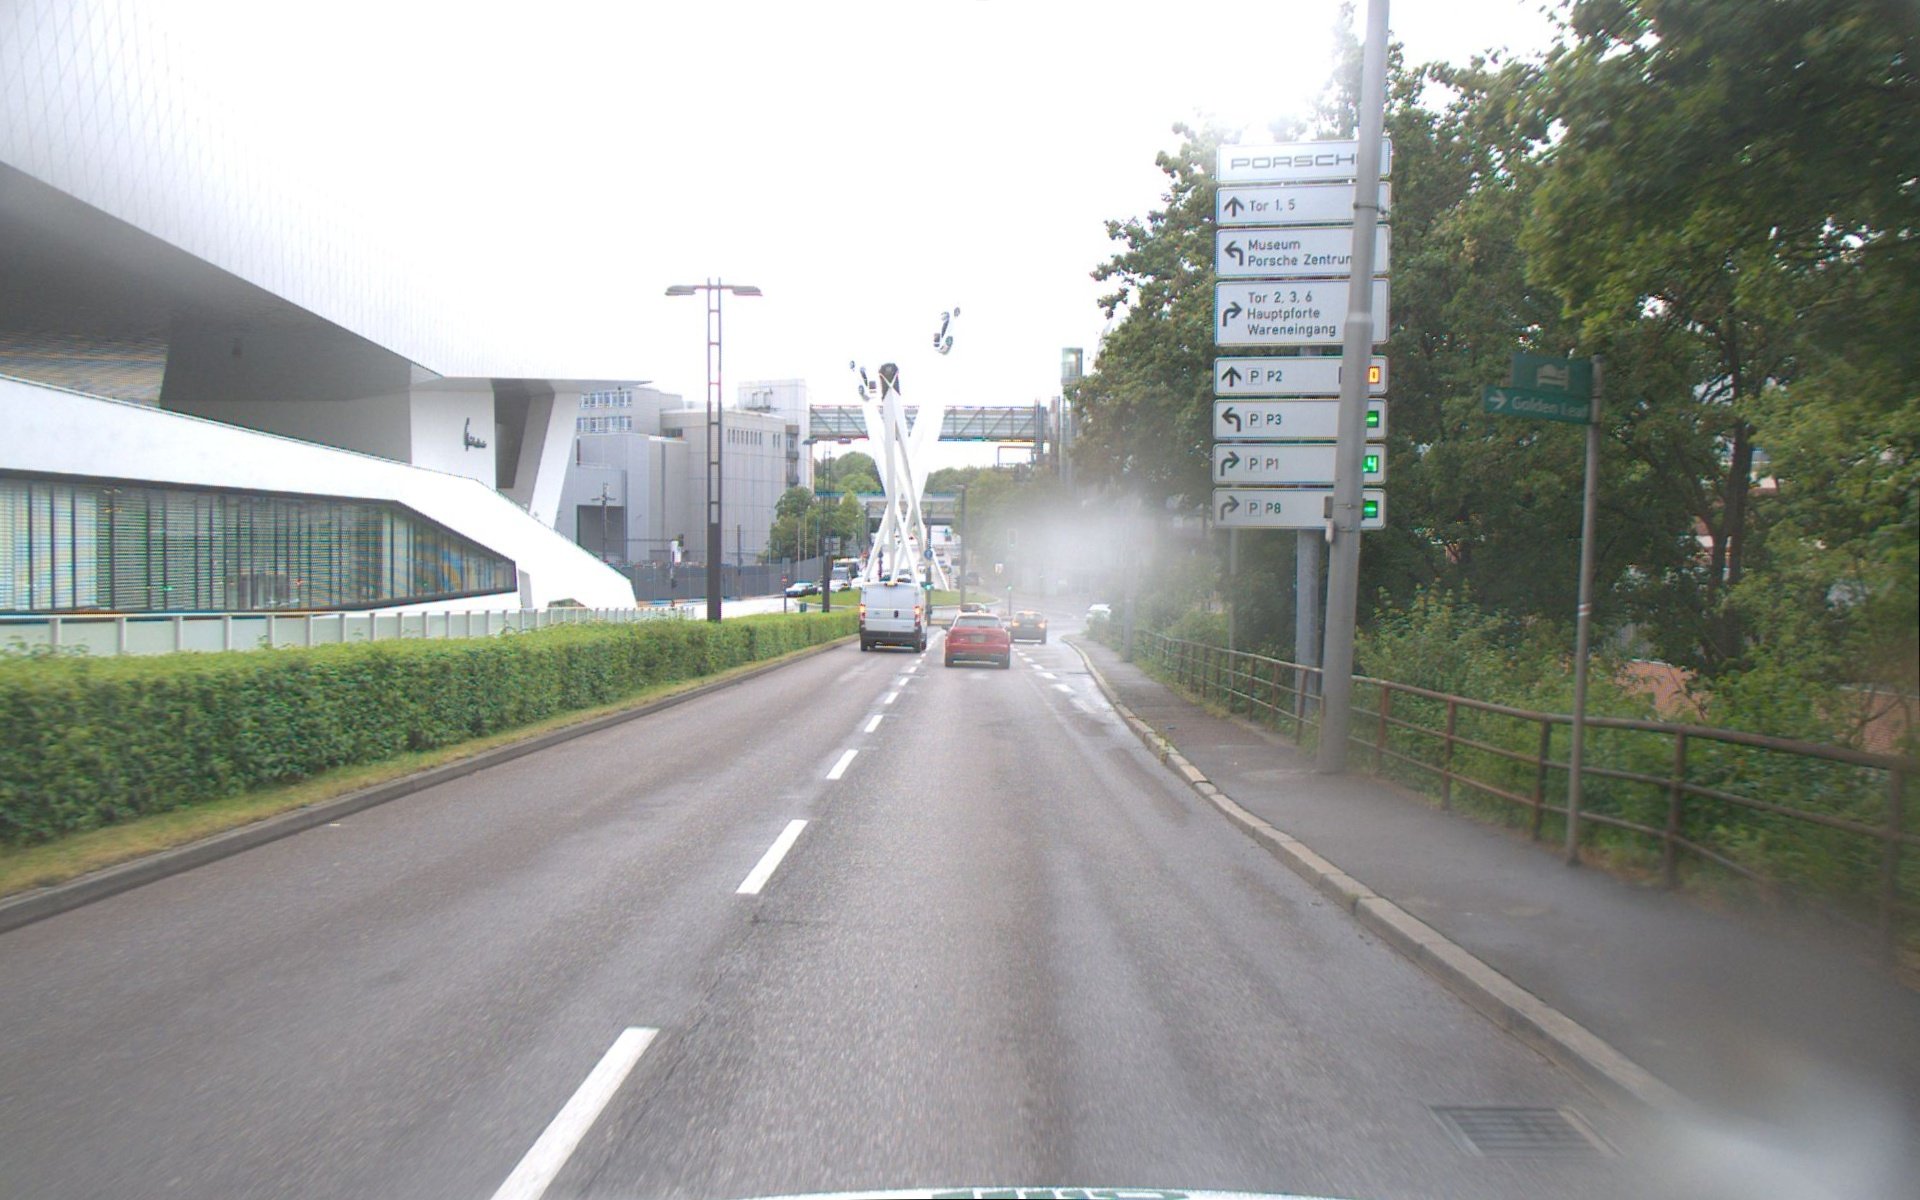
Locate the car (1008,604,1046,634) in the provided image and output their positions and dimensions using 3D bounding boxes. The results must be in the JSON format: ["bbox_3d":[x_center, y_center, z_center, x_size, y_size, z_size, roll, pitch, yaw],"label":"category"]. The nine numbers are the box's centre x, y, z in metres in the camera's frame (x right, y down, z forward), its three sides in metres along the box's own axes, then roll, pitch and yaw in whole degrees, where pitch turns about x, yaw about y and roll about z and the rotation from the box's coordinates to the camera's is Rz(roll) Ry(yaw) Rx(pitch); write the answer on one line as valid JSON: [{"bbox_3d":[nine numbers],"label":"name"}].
[{"bbox_3d":[3.026,0.844,75.265,1.577,1.313,3.566,1,-1,0],"label":"car"}]

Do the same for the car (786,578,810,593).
[{"bbox_3d":[-16.629,-1.490,170.054,1.795,1.498,4.515,1,0,2],"label":"car"}]

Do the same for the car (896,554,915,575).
[{"bbox_3d":[-6.447,-4.212,196.487,1.952,2.490,5.428,0,1,2],"label":"car"}]

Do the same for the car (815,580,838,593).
[{"bbox_3d":[-13.728,-1.371,170.342,1.807,1.361,4.002,1,0,3],"label":"car"}]

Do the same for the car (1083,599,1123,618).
[{"bbox_3d":[10.218,0.626,118.230,1.634,1.323,3.883,1,-1,24],"label":"car"}]

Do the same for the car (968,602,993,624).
[{"bbox_3d":[1.294,0.818,104.541,1.525,1.311,3.413,1,-1,0],"label":"car"}]

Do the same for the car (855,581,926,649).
[{"bbox_3d":[-2.295,0.511,55.859,2.187,2.145,4.953,1,-1,-1],"label":"car"}]

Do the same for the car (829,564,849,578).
[{"bbox_3d":[-13.887,-3.322,189.699,1.795,1.498,4.515,1,0,2],"label":"car"}]

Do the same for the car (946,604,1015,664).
[{"bbox_3d":[0.527,0.890,44.377,1.736,1.490,3.732,1,-1,0],"label":"car"}]

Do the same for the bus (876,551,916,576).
[{"bbox_3d":[-8.860,-5.089,231.063,2.612,3.256,12.680,1,1,11],"label":"bus"}]

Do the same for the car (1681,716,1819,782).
[{"bbox_3d":[22.727,4.273,47.741,1.667,1.512,3.847,1,0,-10],"label":"car"}]
